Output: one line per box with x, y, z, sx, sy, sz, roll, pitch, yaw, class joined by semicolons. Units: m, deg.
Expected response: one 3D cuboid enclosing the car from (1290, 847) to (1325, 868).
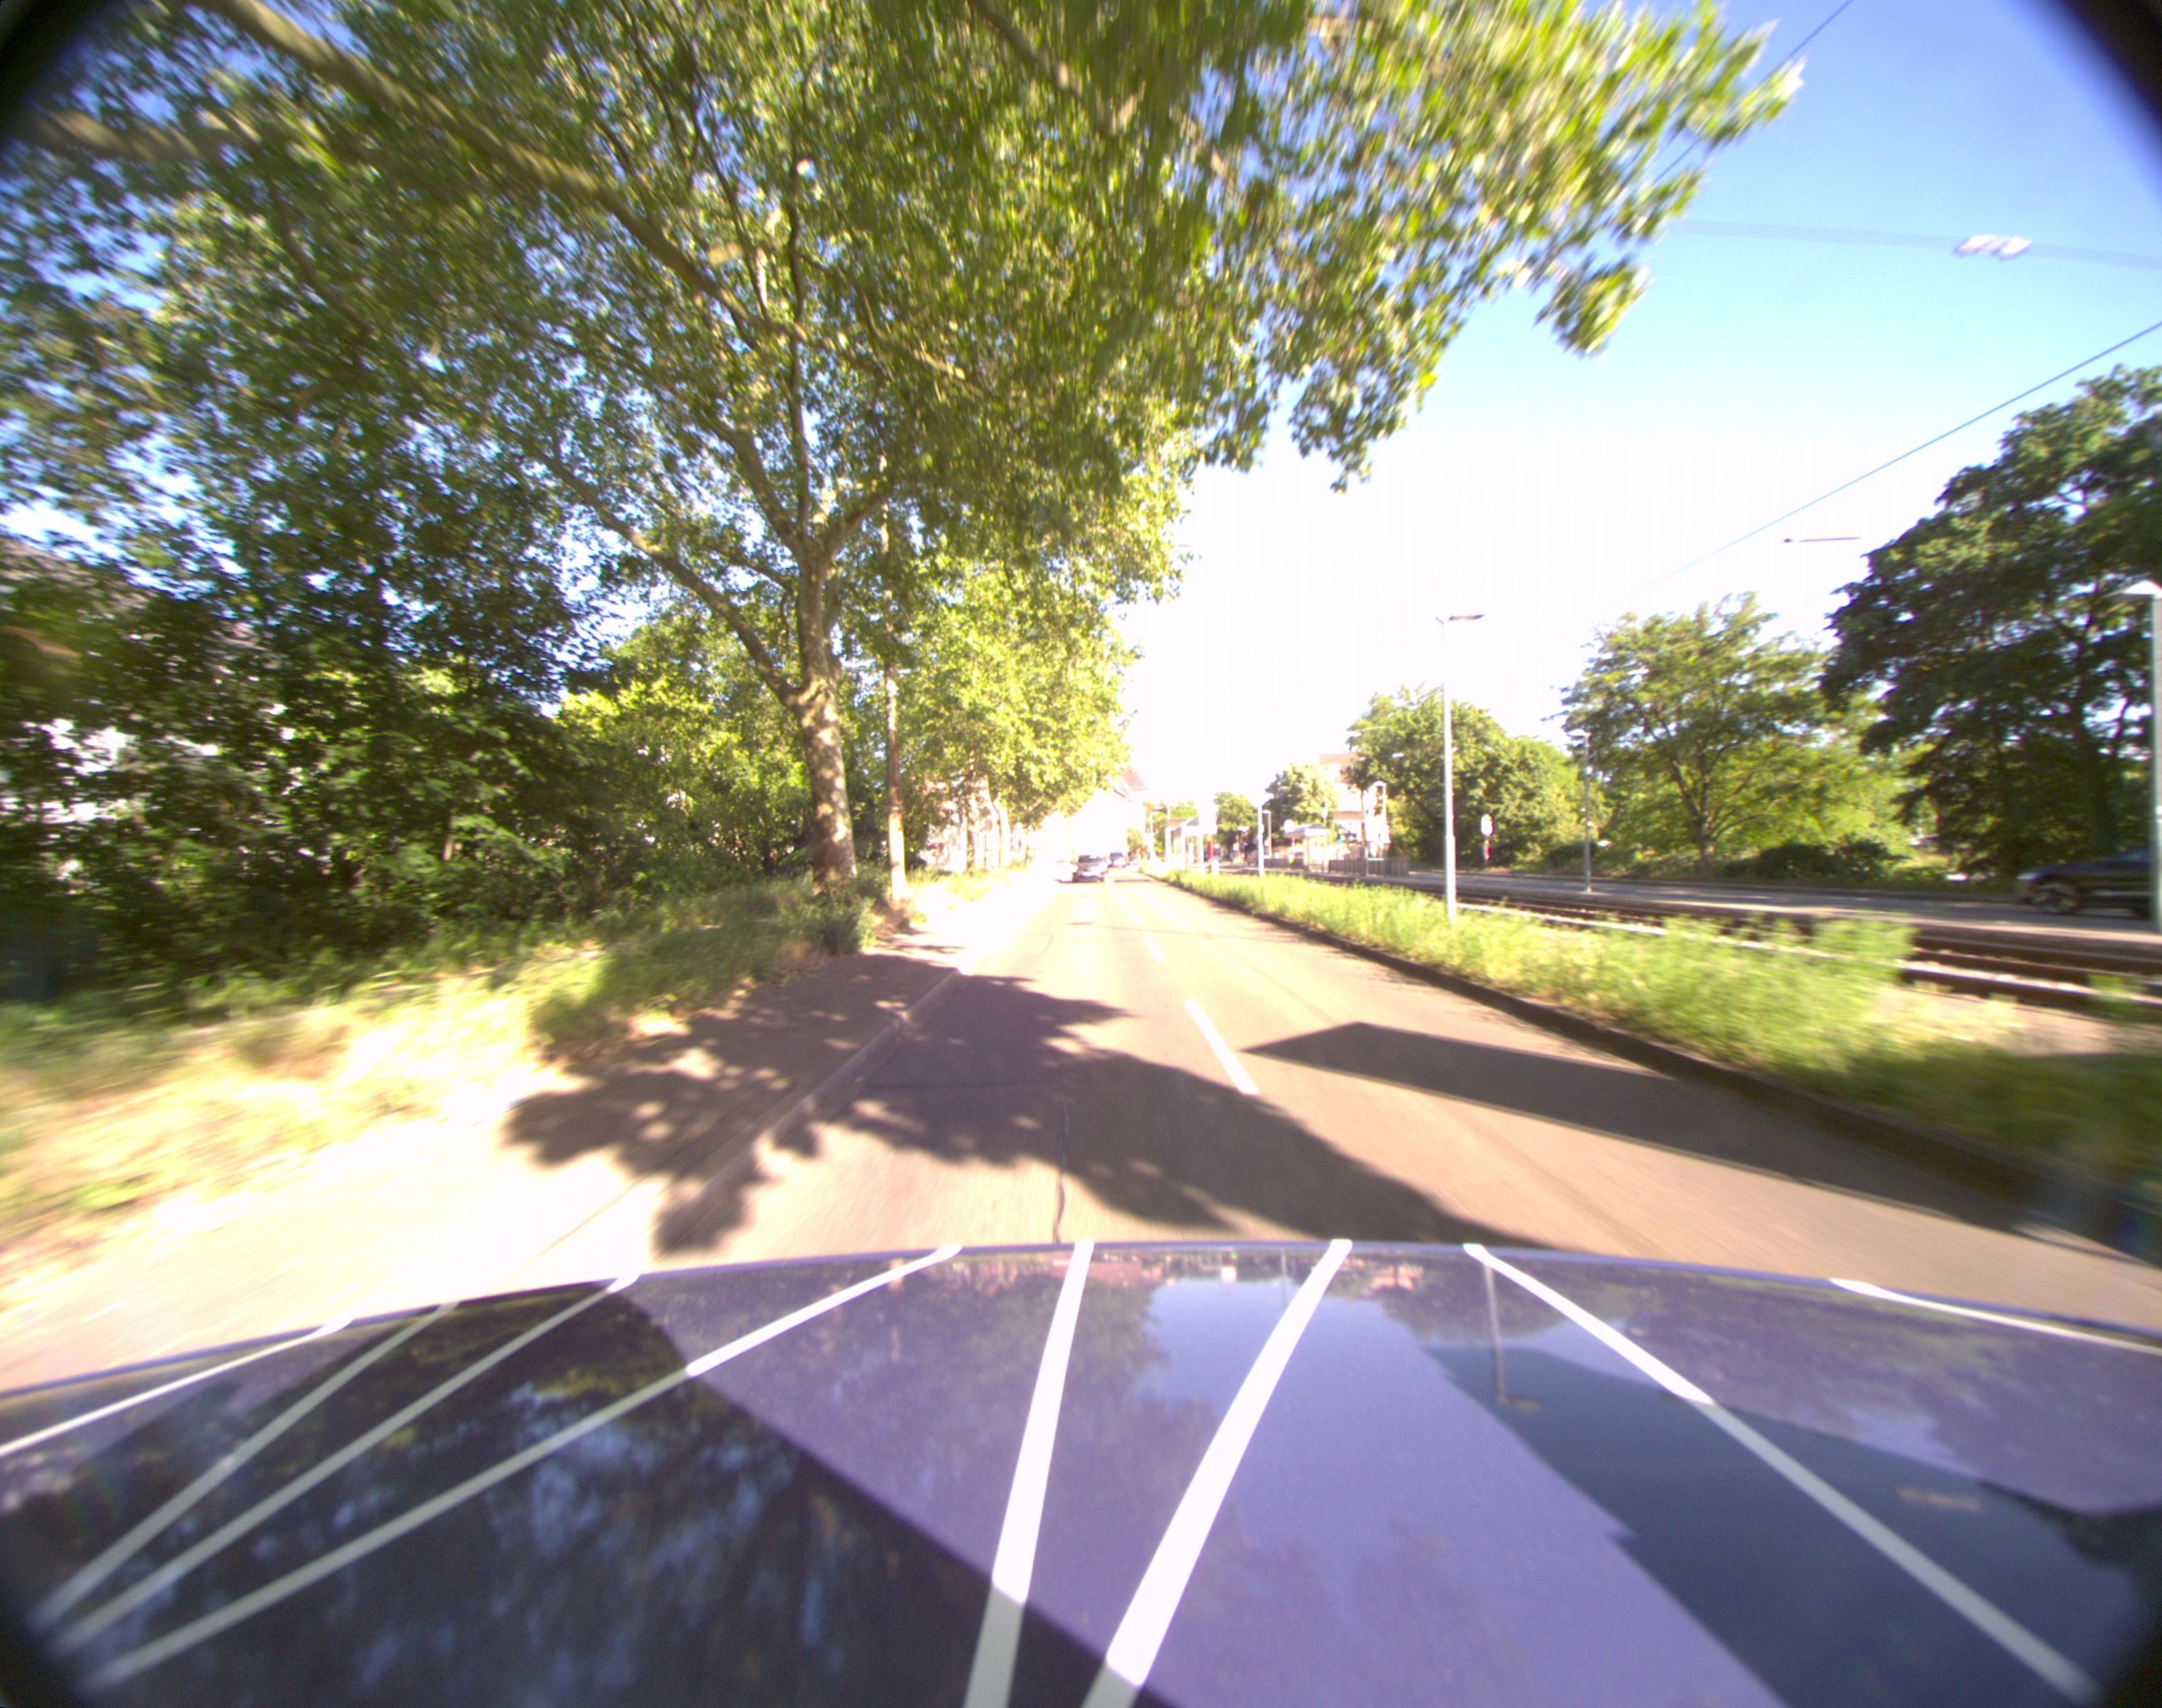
17.492;0.245;58.863;1.613;1.548;3.673;-3;1;1;car

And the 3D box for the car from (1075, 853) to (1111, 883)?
0.613;0.717;41.145;1.808;1.478;3.546;-3;1;0;car

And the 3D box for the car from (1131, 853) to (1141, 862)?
8.359;0.554;115.062;1.405;1.205;3.240;-2;1;5;car

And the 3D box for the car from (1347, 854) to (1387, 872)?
20.398;0.642;54.316;1.493;1.112;3.676;-3;1;1;car

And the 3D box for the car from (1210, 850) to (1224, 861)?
19.704;0.234;110.037;1.852;1.371;3.442;-2;1;11;car

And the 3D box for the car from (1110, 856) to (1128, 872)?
3.783;1.002;75.891;1.590;1.478;3.547;-3;1;2;car

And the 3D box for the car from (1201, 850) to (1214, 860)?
21.408;0.173;128.912;1.853;1.478;3.548;-2;1;6;car

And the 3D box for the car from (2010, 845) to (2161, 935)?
18.558;0.612;12.234;1.640;1.486;4.592;1;1;2;car

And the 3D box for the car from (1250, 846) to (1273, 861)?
19.242;-0.078;81.226;1.613;1.548;3.673;-3;1;1;car
